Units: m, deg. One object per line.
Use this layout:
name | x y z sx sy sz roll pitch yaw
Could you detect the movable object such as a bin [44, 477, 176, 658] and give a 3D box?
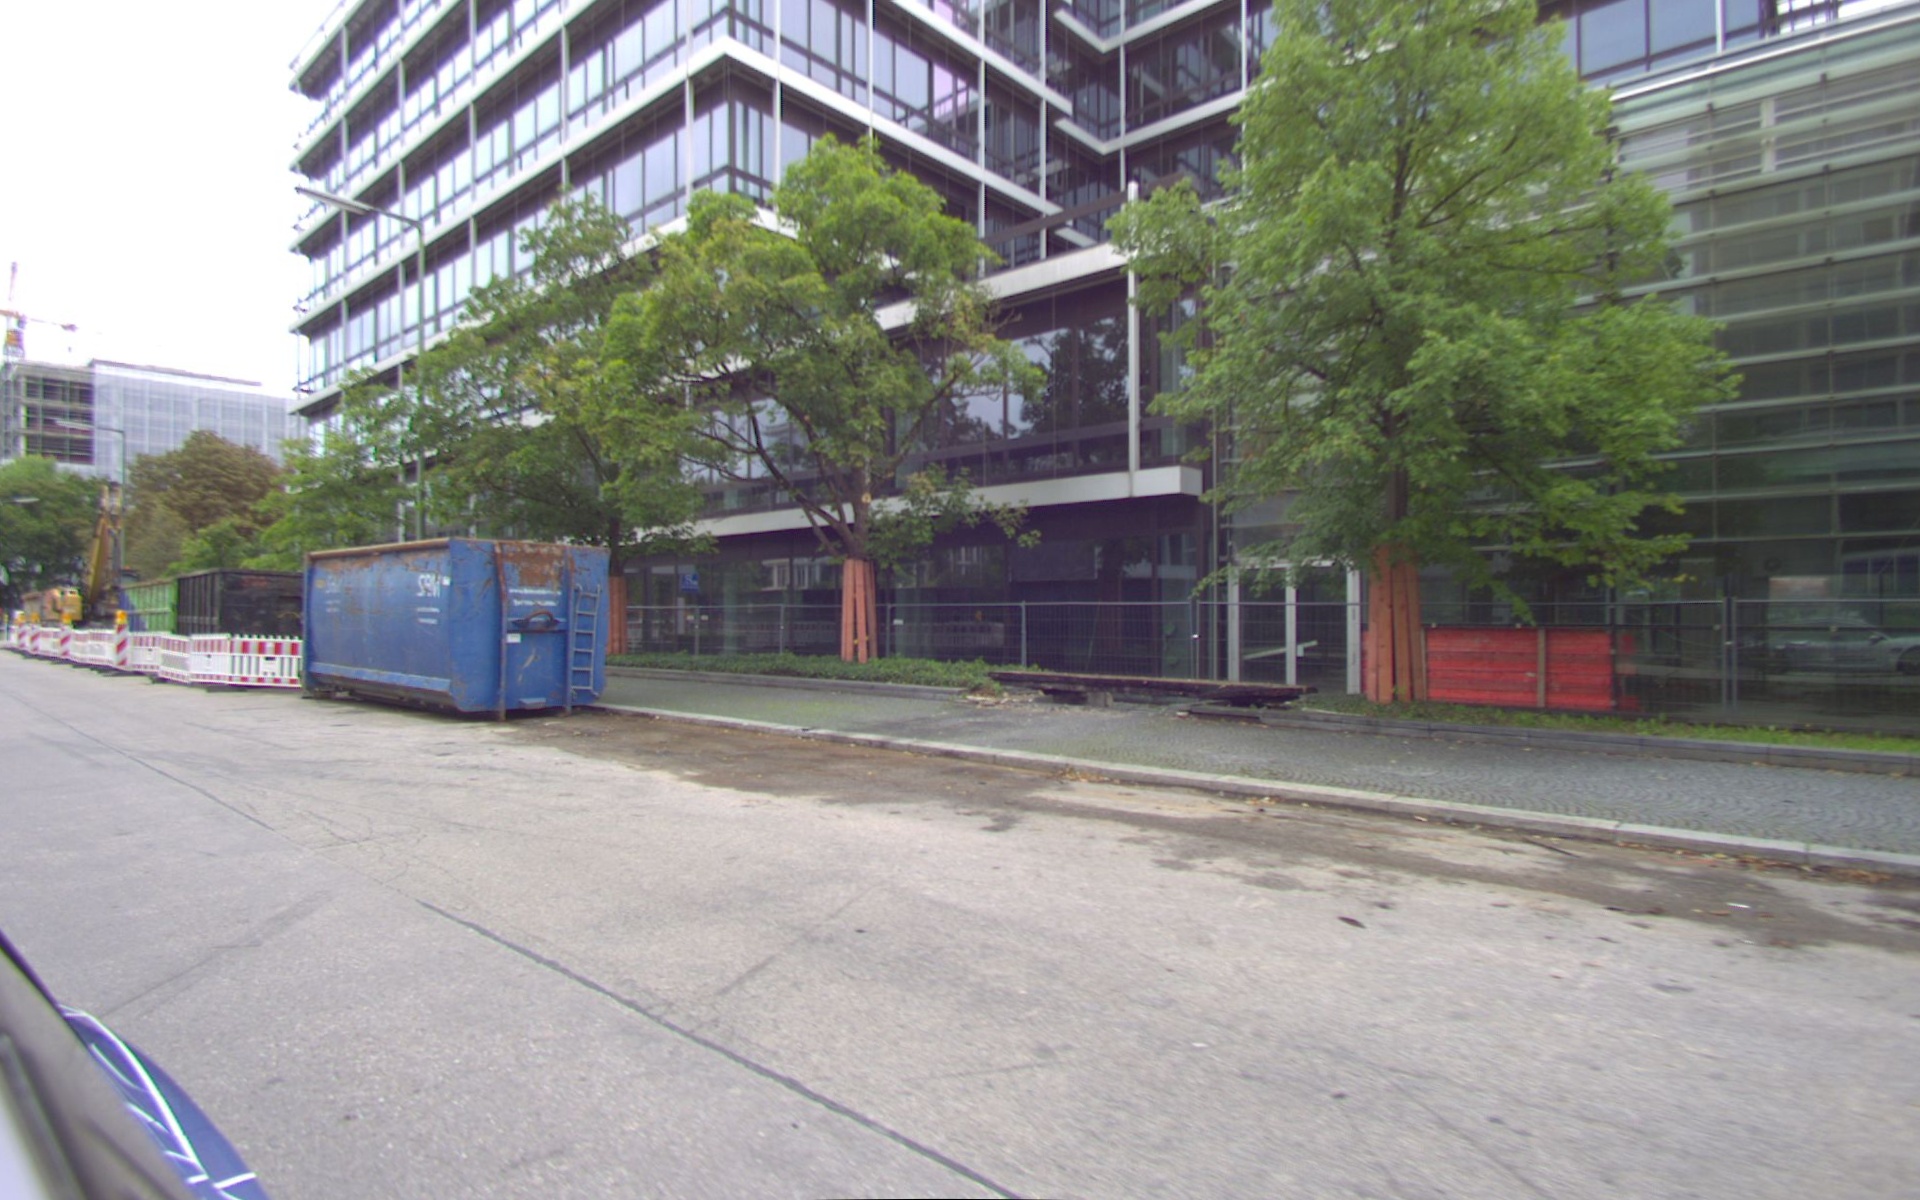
movable object such as a bin | -33.507 -1.083 39.752 8.339 6.370 3.197 -1 -1 45
